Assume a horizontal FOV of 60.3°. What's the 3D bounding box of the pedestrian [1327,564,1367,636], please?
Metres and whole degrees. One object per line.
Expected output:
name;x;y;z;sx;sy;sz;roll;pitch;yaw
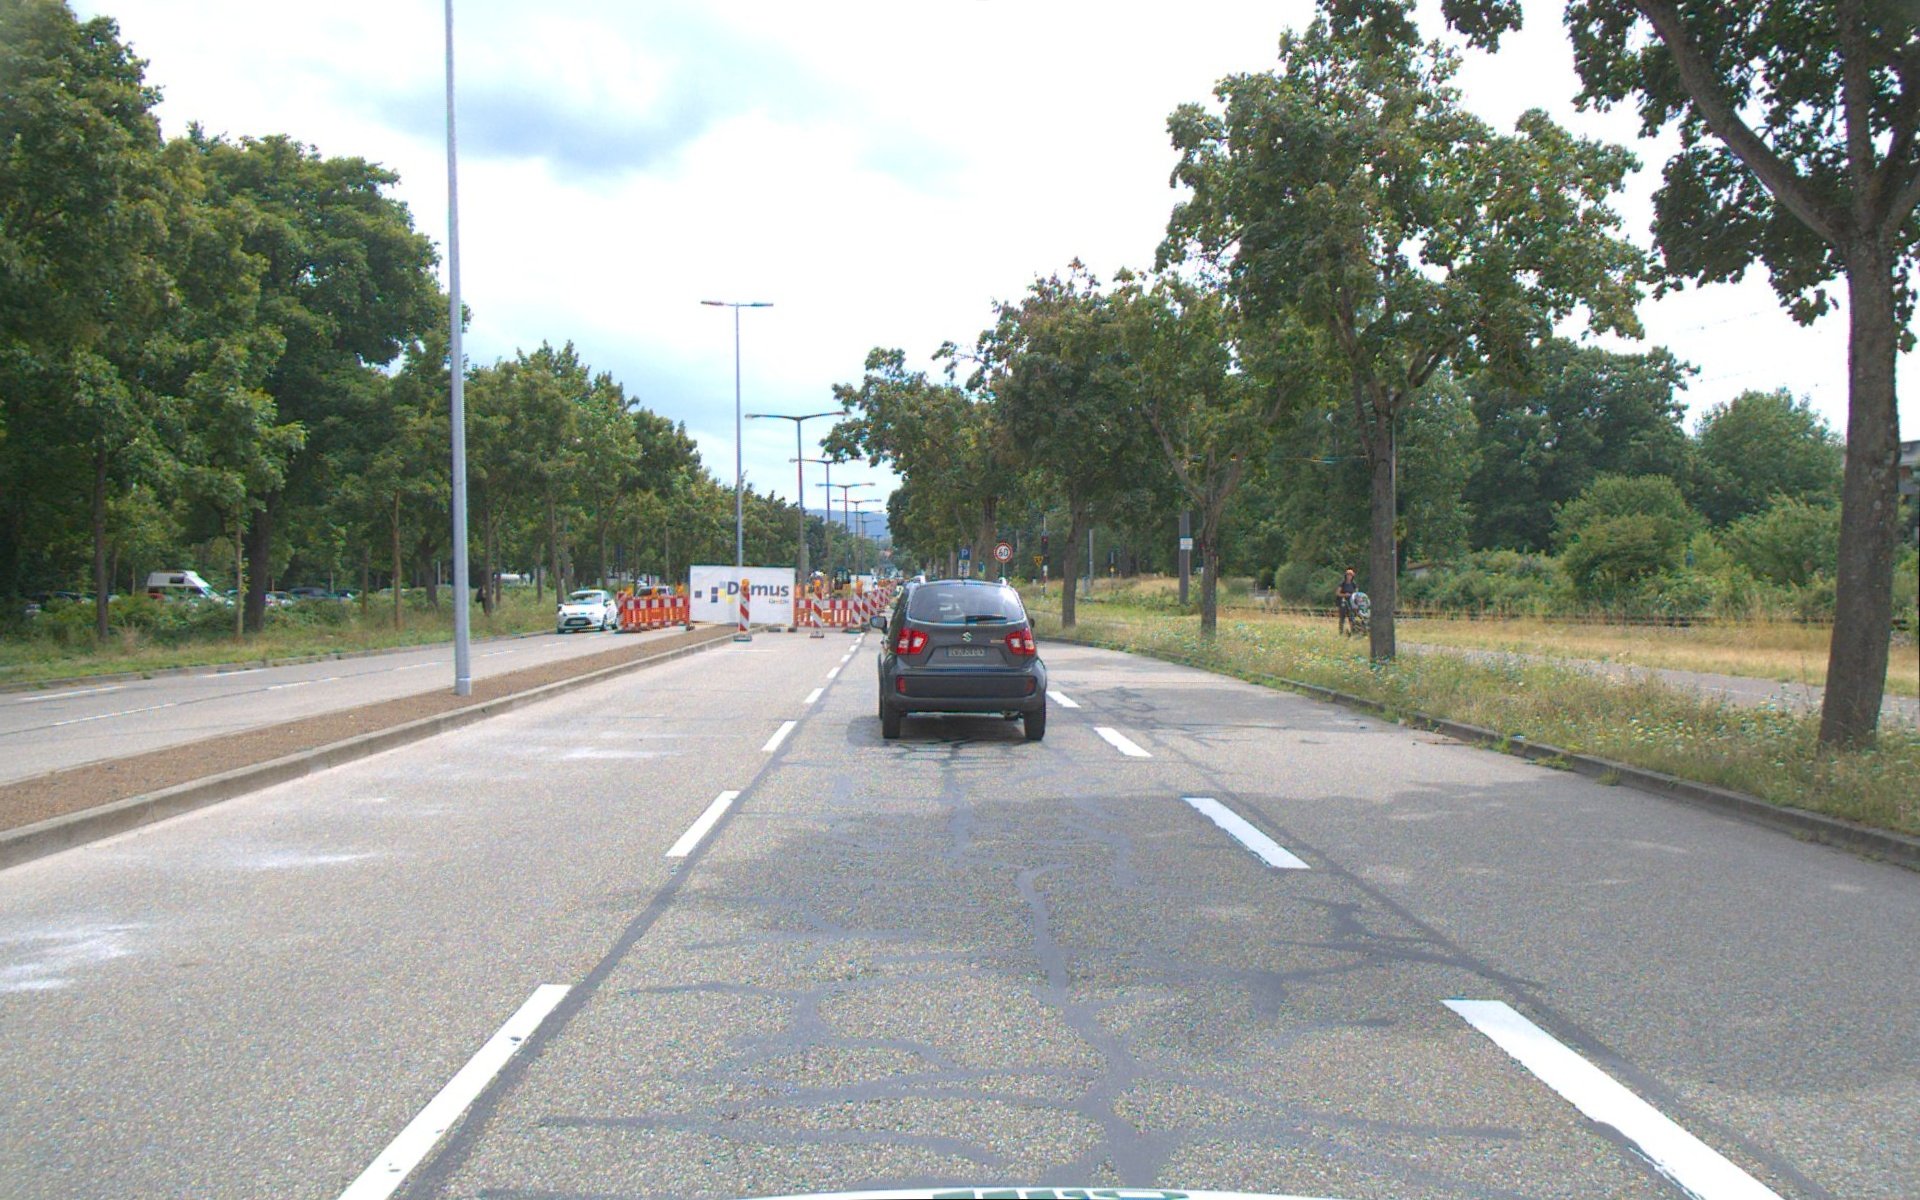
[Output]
pedestrian;9.327;-0.008;39.910;0.677;1.725;0.933;0;1;-6

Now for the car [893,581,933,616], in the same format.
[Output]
car;-2.219;-0.081;78.622;1.757;1.589;4.000;0;1;0

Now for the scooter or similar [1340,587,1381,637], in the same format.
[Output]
scooter or similar;9.424;0.285;38.981;0.668;1.149;0.933;0;1;-6

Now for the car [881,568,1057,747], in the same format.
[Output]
car;-0.004;0.511;17.710;1.669;1.697;3.998;0;1;-3

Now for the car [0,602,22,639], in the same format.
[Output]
car;-39.979;0.827;66.270;3.654;1.433;2.000;0;1;-1

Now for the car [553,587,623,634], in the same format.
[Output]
car;-13.245;0.349;59.053;1.656;1.502;3.999;-2;1;-2

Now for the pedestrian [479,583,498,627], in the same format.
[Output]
pedestrian;-19.857;0.204;69.658;0.681;1.870;0.647;-1;1;-23

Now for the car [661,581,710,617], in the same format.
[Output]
car;-12.595;-0.060;76.008;1.669;1.502;3.999;-2;1;-2

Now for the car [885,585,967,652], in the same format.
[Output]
car;-0.871;0.411;40.127;1.732;1.489;3.997;0;1;-5

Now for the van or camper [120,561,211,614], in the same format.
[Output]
van or camper;-42.438;-0.692;88.394;3.906;2.804;1.926;0;1;-2
